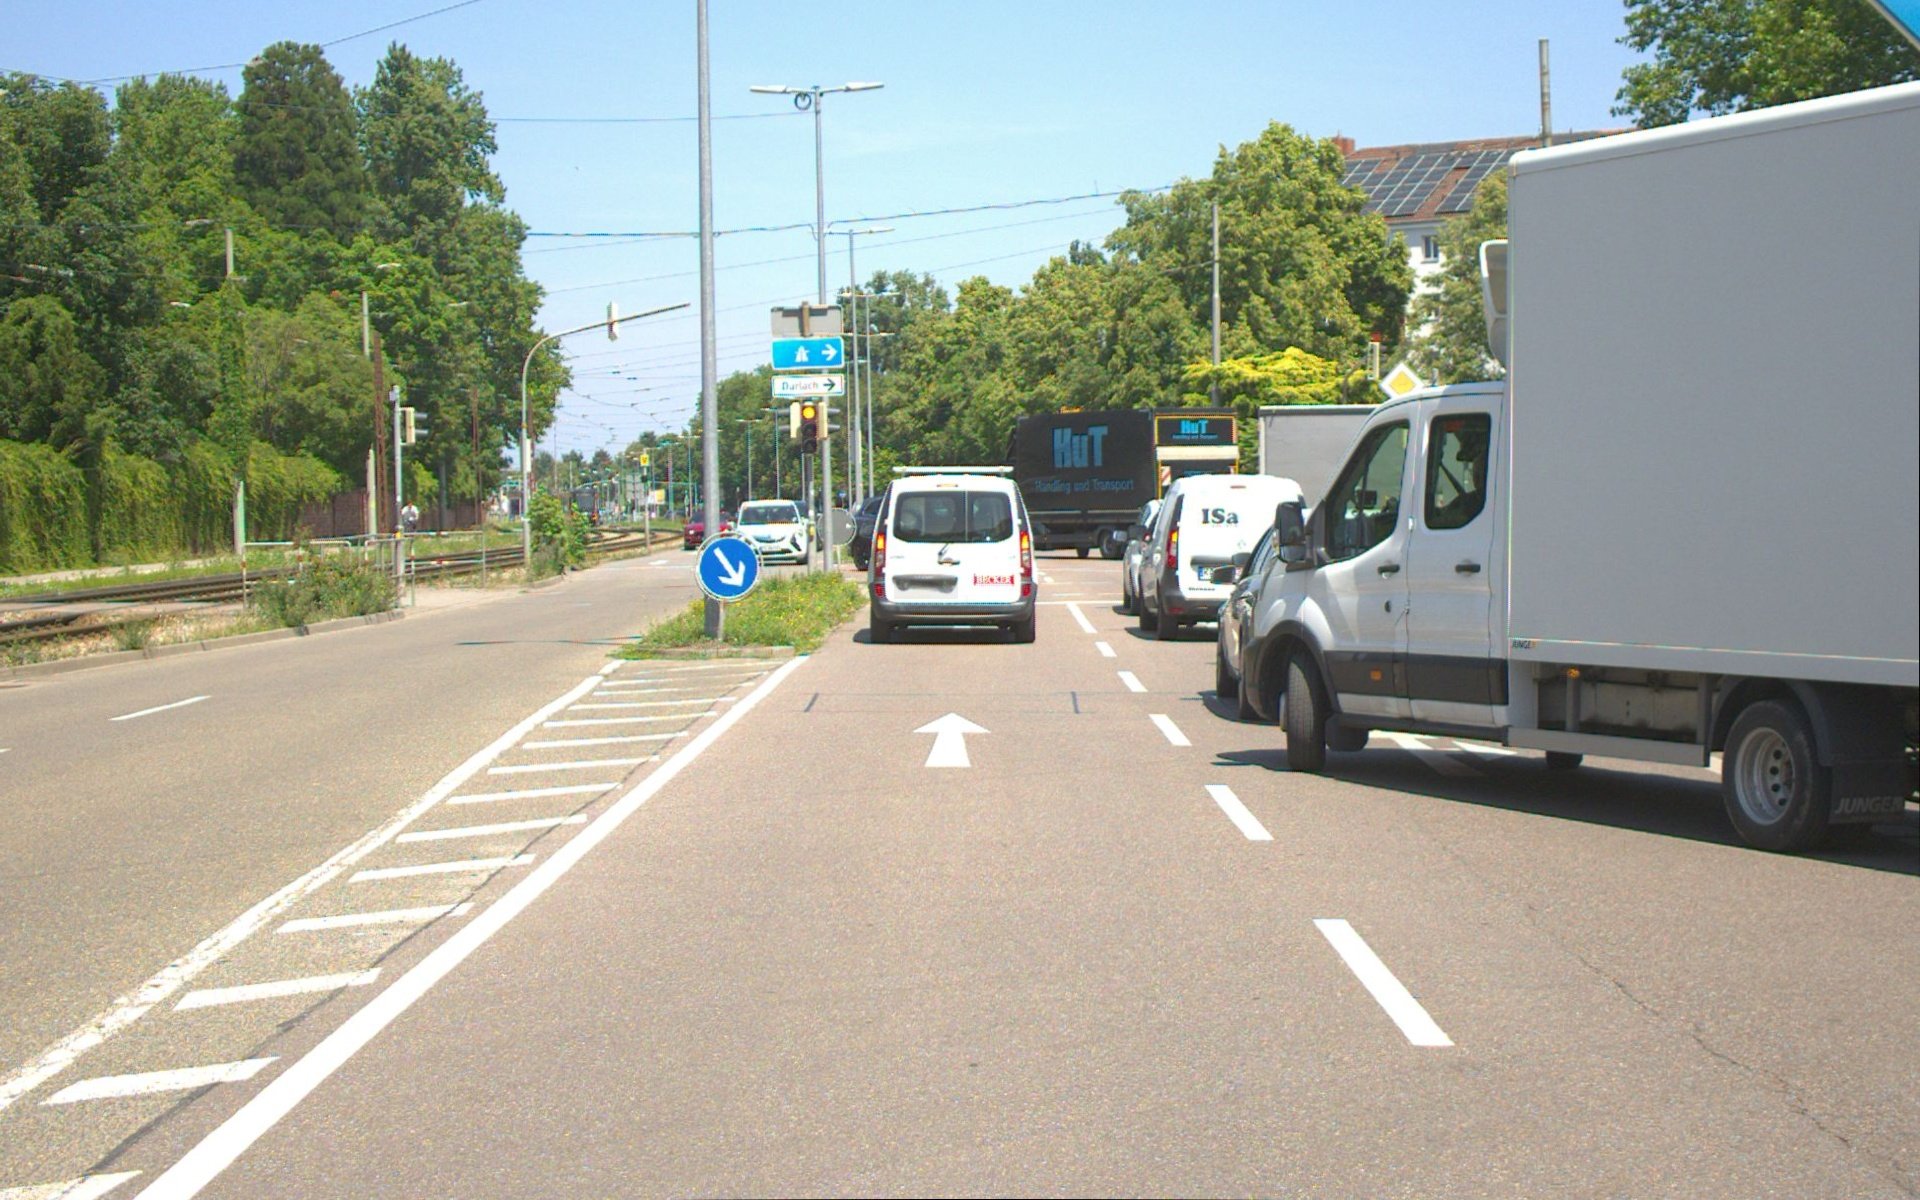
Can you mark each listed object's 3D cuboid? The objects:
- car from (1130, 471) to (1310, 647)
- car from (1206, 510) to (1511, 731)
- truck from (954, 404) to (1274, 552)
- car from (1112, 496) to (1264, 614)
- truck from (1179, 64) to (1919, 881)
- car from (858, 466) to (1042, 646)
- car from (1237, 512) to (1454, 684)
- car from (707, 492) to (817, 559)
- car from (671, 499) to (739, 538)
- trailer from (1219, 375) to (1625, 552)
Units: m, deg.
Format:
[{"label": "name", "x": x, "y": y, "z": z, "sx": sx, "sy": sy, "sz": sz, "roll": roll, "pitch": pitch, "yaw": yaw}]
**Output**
[{"label": "car", "x": 2.834, "y": -0.491, "z": 38.126, "sx": 1.710, "sy": 1.824, "sz": 4.014, "roll": -1, "pitch": 2, "yaw": 1}, {"label": "car", "x": 2.824, "y": 0.081, "z": 25.220, "sx": 1.795, "sy": 1.444, "sz": 4.418, "roll": -1, "pitch": 2, "yaw": 1}, {"label": "truck", "x": 3.839, "y": -3.091, "z": 88.378, "sx": 3.576, "sy": 3.620, "sz": 8.807, "roll": -2, "pitch": 2, "yaw": -35}, {"label": "car", "x": 3.006, "y": -0.636, "z": 45.997, "sx": 1.756, "sy": 1.481, "sz": 4.000, "roll": -1, "pitch": 2, "yaw": 0}, {"label": "truck", "x": 3.945, "y": -0.614, "z": 17.439, "sx": 2.419, "sy": 3.380, "sz": 7.836, "roll": -1, "pitch": 2, "yaw": -22}, {"label": "car", "x": -0.117, "y": -0.509, "z": 37.314, "sx": 1.866, "sy": 1.829, "sz": 3.849, "roll": -1, "pitch": 2, "yaw": -1}, {"label": "car", "x": 3.432, "y": -0.053, "z": 31.105, "sx": 1.607, "sy": 1.446, "sz": 3.521, "roll": 1, "pitch": 1, "yaw": 1}, {"label": "car", "x": -4.955, "y": -1.864, "z": 85.434, "sx": 1.993, "sy": 1.612, "sz": 4.457, "roll": -1, "pitch": 2, "yaw": -13}, {"label": "car", "x": -9.203, "y": -2.948, "z": 124.355, "sx": 1.984, "sy": 1.354, "sz": 4.538, "roll": -1, "pitch": 2, "yaw": 1}, {"label": "trailer", "x": 11.049, "y": -3.218, "z": 82.533, "sx": 8.962, "sy": 4.036, "sz": 3.534, "roll": 0, "pitch": 2, "yaw": 29}]
